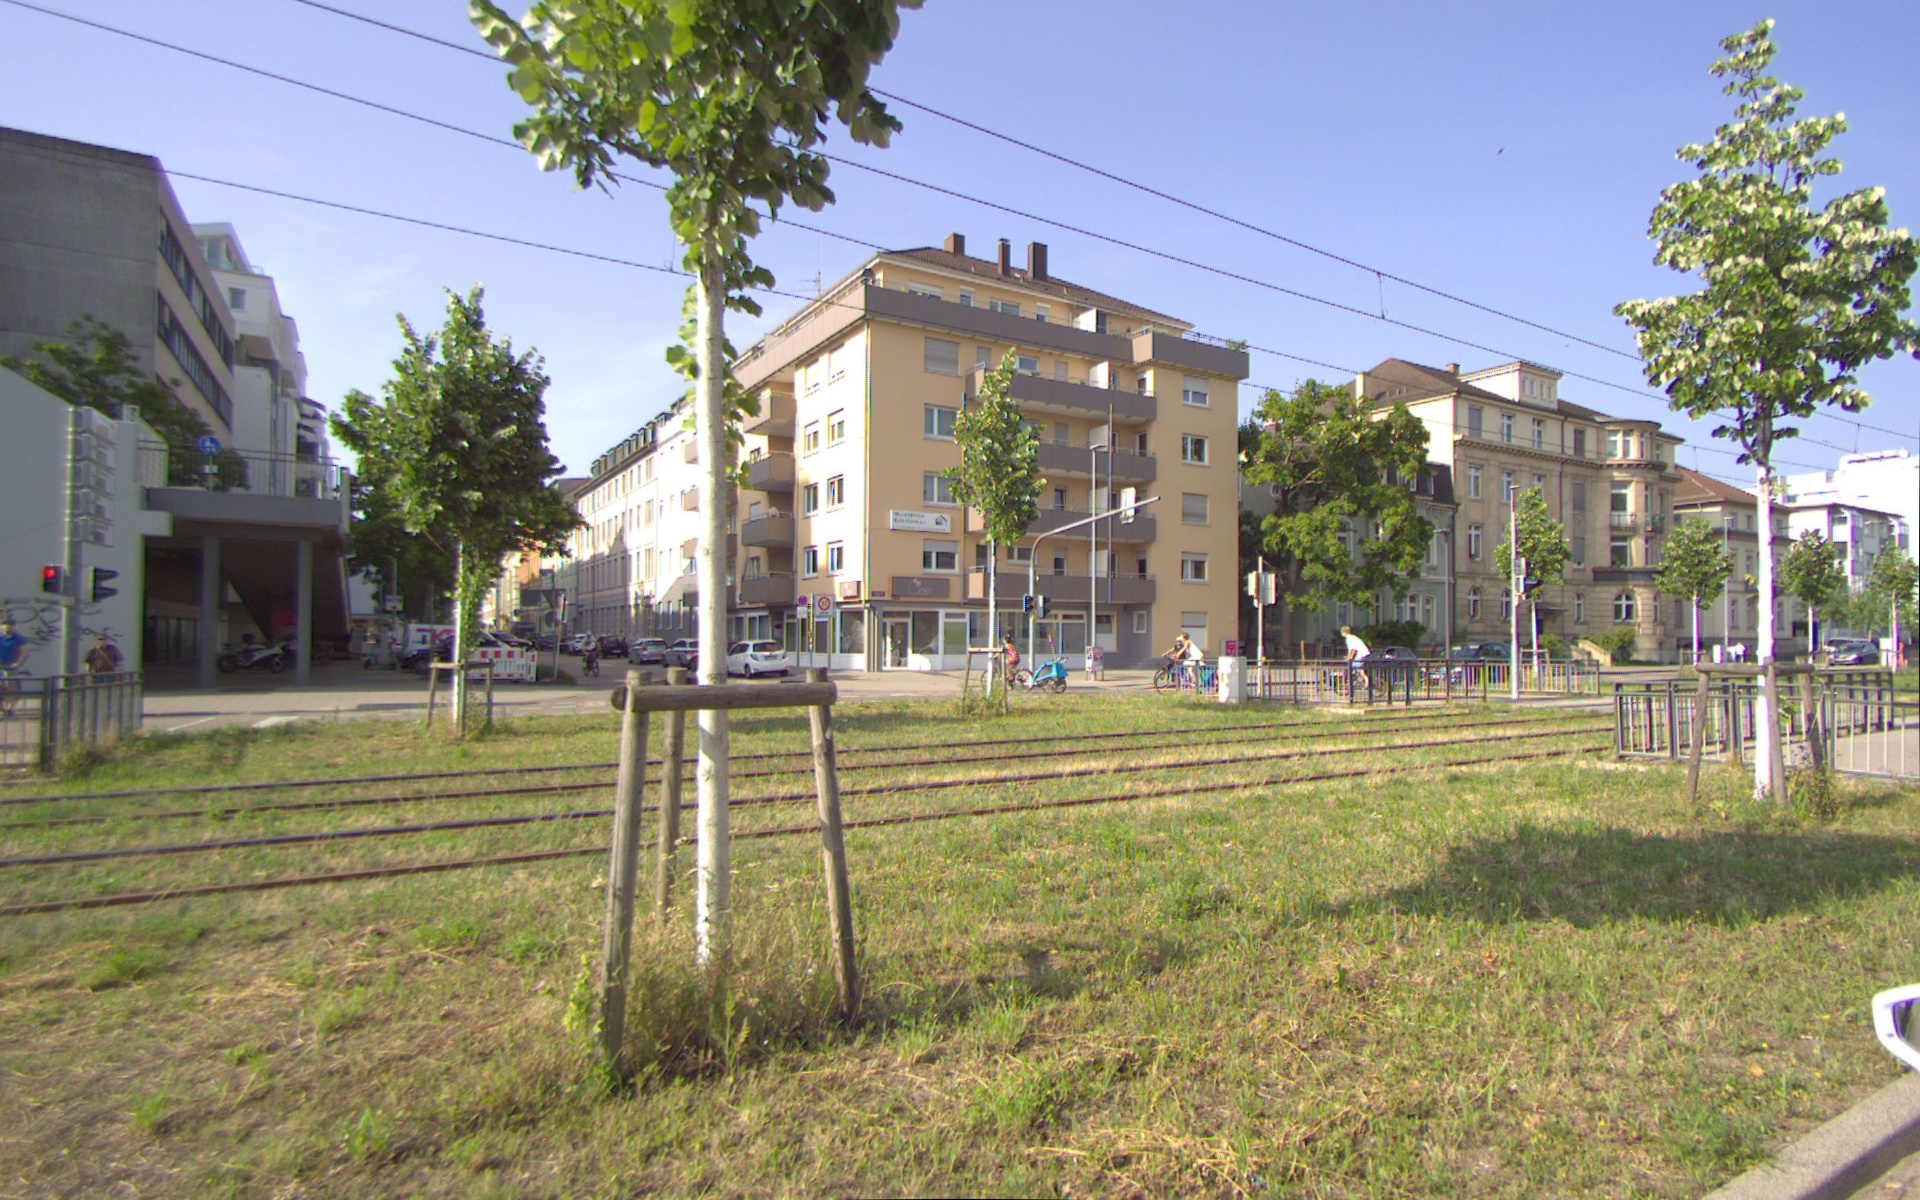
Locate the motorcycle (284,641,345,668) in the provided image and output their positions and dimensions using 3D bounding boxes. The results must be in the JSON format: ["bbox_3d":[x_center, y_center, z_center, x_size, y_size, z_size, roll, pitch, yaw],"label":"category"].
[{"bbox_3d":[-24.877,2.106,38.755,1.923,1.031,0.490,1,-2,-31],"label":"motorcycle"}]

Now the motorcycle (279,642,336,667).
[{"bbox_3d":[-27.222,2.277,41.934,1.923,1.031,0.490,1,-2,-31],"label":"motorcycle"}]

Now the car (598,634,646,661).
[{"bbox_3d":[-21.192,2.941,62.906,1.797,1.625,3.915,2,-2,-35],"label":"car"}]

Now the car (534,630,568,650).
[{"bbox_3d":[-34.658,3.358,85.049,1.797,1.625,3.915,2,-2,-35],"label":"car"}]

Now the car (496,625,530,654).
[{"bbox_3d":[-32.235,2.857,72.386,1.791,2.040,3.967,1,-2,-31],"label":"car"}]

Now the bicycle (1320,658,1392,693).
[{"bbox_3d":[10.199,1.935,25.900,1.573,0.808,0.720,2,0,-3],"label":"bicycle"}]

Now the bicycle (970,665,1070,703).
[{"bbox_3d":[1.773,2.489,30.005,2.947,0.978,0.898,-1,-2,34],"label":"bicycle"}]

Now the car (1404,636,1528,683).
[{"bbox_3d":[17.699,2.042,35.074,4.351,1.533,1.982,2,-2,-33],"label":"car"}]

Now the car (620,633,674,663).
[{"bbox_3d":[-17.458,2.661,55.950,1.797,1.625,3.915,2,-2,-35],"label":"car"}]

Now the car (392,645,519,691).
[{"bbox_3d":[-20.158,2.697,40.190,4.336,1.650,1.897,2,0,-34],"label":"car"}]

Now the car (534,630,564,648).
[{"bbox_3d":[-37.939,3.551,92.640,1.797,1.625,3.915,2,-2,-35],"label":"car"}]

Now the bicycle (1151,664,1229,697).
[{"bbox_3d":[6.140,2.141,26.806,1.963,0.804,0.629,-1,-2,20],"label":"bicycle"}]

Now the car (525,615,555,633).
[{"bbox_3d":[-40.293,2.300,96.358,1.979,1.658,3.963,2,-2,-34],"label":"car"}]

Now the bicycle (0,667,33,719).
[{"bbox_3d":[-19.781,1.915,20.803,0.679,1.003,1.650,1,-2,-37],"label":"bicycle"}]

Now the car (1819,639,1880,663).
[{"bbox_3d":[60.654,3.476,68.479,4.479,1.597,1.983,2,-3,-32],"label":"car"}]

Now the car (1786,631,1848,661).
[{"bbox_3d":[66.476,3.580,77.938,5.208,2.040,2.236,4,-1,-33],"label":"car"}]

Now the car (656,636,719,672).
[{"bbox_3d":[-13.372,2.609,49.116,1.797,1.625,3.915,2,-2,-34],"label":"car"}]

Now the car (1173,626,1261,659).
[{"bbox_3d":[14.464,2.414,56.771,2.141,1.771,4.605,1,-3,-32],"label":"car"}]

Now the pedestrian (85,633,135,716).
[{"bbox_3d":[-17.966,1.565,21.247,0.637,1.712,0.656,1,-2,-27],"label":"pedestrian"}]

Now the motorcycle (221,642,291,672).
[{"bbox_3d":[-24.230,1.952,34.610,1.923,1.031,0.490,1,-2,-31],"label":"motorcycle"}]

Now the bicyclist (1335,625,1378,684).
[{"bbox_3d":[10.220,1.388,25.900,0.790,1.459,0.687,2,0,-2],"label":"bicyclist"}]

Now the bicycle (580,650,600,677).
[{"bbox_3d":[-15.135,2.588,41.127,0.697,1.012,2.336,1,-2,-19],"label":"bicycle"}]

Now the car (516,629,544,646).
[{"bbox_3d":[-42.762,3.734,99.776,1.797,1.625,3.915,2,-2,-35],"label":"car"}]

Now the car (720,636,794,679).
[{"bbox_3d":[-8.322,2.309,41.013,1.691,1.604,3.601,-1,-1,-34],"label":"car"}]

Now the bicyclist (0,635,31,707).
[{"bbox_3d":[-19.788,1.453,20.777,0.679,1.459,1.014,1,-2,-36],"label":"bicyclist"}]

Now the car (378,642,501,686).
[{"bbox_3d":[-21.748,2.653,42.021,4.336,1.650,1.897,2,0,-34],"label":"car"}]

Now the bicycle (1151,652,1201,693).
[{"bbox_3d":[7.498,2.499,34.840,1.741,1.364,0.690,2,-2,-36],"label":"bicycle"}]

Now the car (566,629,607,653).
[{"bbox_3d":[-26.478,2.883,71.192,1.797,1.625,3.915,2,-2,-35],"label":"car"}]

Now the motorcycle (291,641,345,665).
[{"bbox_3d":[-28.189,2.334,44.131,1.923,1.031,0.553,1,-2,-31],"label":"motorcycle"}]

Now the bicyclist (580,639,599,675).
[{"bbox_3d":[-15.019,2.293,40.759,0.692,1.404,0.910,-1,-1,-19],"label":"bicyclist"}]

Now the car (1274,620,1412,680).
[{"bbox_3d":[13.888,1.786,36.340,5.246,2.040,1.982,2,-2,-33],"label":"car"}]

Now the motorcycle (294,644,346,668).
[{"bbox_3d":[-28.771,2.503,45.156,1.923,1.031,0.553,1,-2,-31],"label":"motorcycle"}]

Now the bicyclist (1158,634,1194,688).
[{"bbox_3d":[7.505,2.092,34.845,1.073,1.829,0.665,2,-2,-35],"label":"bicyclist"}]

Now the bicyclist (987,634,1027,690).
[{"bbox_3d":[1.426,1.846,30.284,0.878,1.650,0.890,-1,-2,33],"label":"bicyclist"}]

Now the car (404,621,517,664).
[{"bbox_3d":[-24.456,2.113,49.217,4.778,1.994,1.984,2,-3,-31],"label":"car"}]

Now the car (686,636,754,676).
[{"bbox_3d":[-10.761,2.477,44.913,1.756,1.711,3.765,2,-2,-33],"label":"car"}]

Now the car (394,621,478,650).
[{"bbox_3d":[-34.291,2.351,65.759,4.715,1.843,1.984,2,-2,-31],"label":"car"}]

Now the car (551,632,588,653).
[{"bbox_3d":[-29.871,3.234,76.839,1.797,1.625,3.915,2,-2,-35],"label":"car"}]

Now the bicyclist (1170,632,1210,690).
[{"bbox_3d":[6.146,1.626,26.813,0.967,1.520,0.620,0,-2,20],"label":"bicyclist"}]
